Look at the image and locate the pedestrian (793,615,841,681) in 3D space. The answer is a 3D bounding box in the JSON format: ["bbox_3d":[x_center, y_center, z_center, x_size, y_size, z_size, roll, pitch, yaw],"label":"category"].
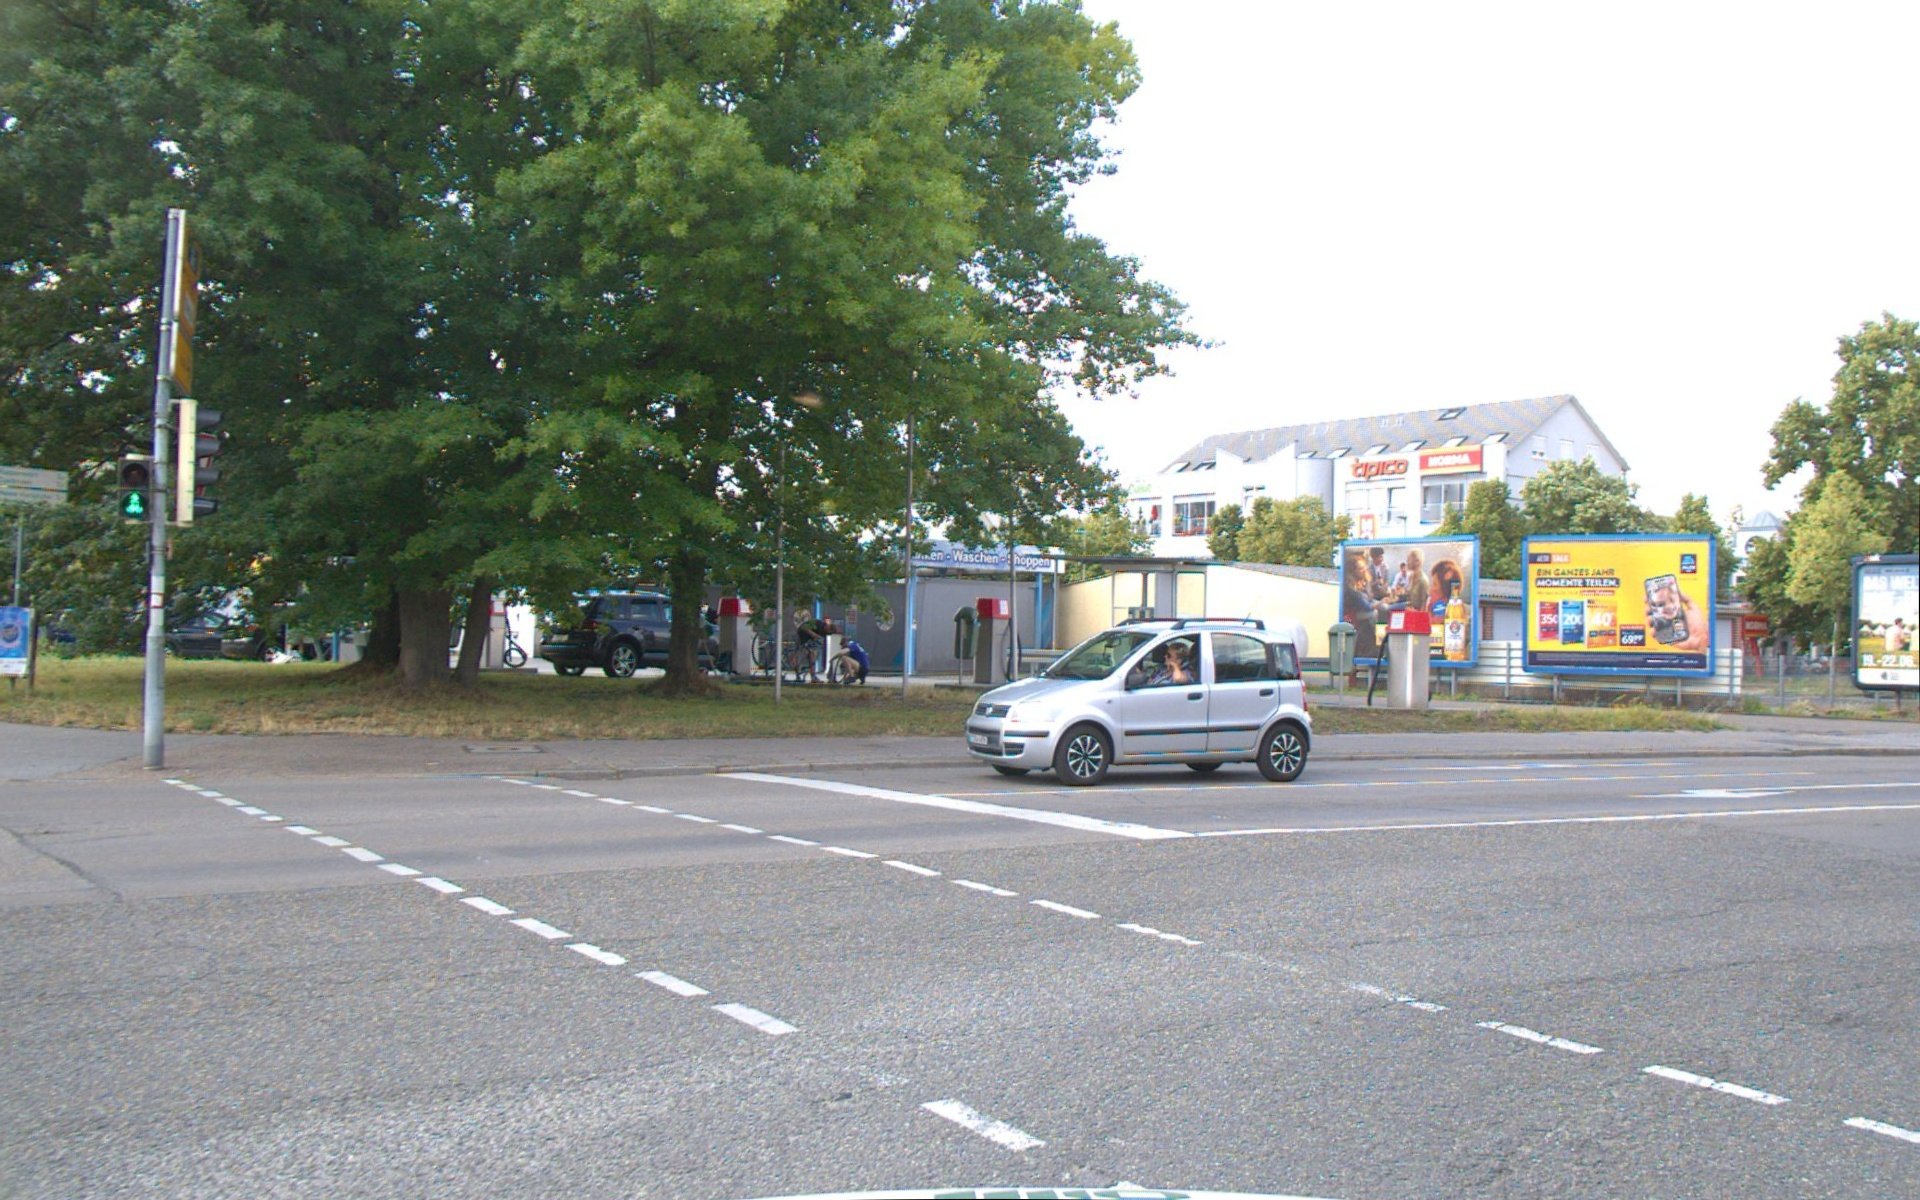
[{"bbox_3d":[-2.724,0.925,31.626,0.747,1.211,0.646,2,-3,7],"label":"pedestrian"}]

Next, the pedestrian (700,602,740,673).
[{"bbox_3d":[-5.258,0.826,36.214,0.609,1.521,0.558,-1,-4,44],"label":"pedestrian"}]

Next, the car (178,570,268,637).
[{"bbox_3d":[-28.937,0.161,64.848,1.739,2.497,5.666,2,-1,-40],"label":"car"}]

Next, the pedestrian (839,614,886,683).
[{"bbox_3d":[-1.850,0.930,31.554,0.747,1.278,0.646,2,-3,7],"label":"pedestrian"}]

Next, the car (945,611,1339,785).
[{"bbox_3d":[1.787,0.920,16.121,3.553,1.544,1.546,2,-1,-26],"label":"car"}]

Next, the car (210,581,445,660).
[{"bbox_3d":[-15.878,0.541,41.756,2.114,1.859,5.168,0,-1,41],"label":"car"}]

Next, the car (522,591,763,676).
[{"bbox_3d":[-6.426,0.692,33.908,2.114,1.624,4.538,0,-1,41],"label":"car"}]

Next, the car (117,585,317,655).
[{"bbox_3d":[-22.538,0.642,50.279,5.153,2.039,2.121,2,-1,-42],"label":"car"}]
